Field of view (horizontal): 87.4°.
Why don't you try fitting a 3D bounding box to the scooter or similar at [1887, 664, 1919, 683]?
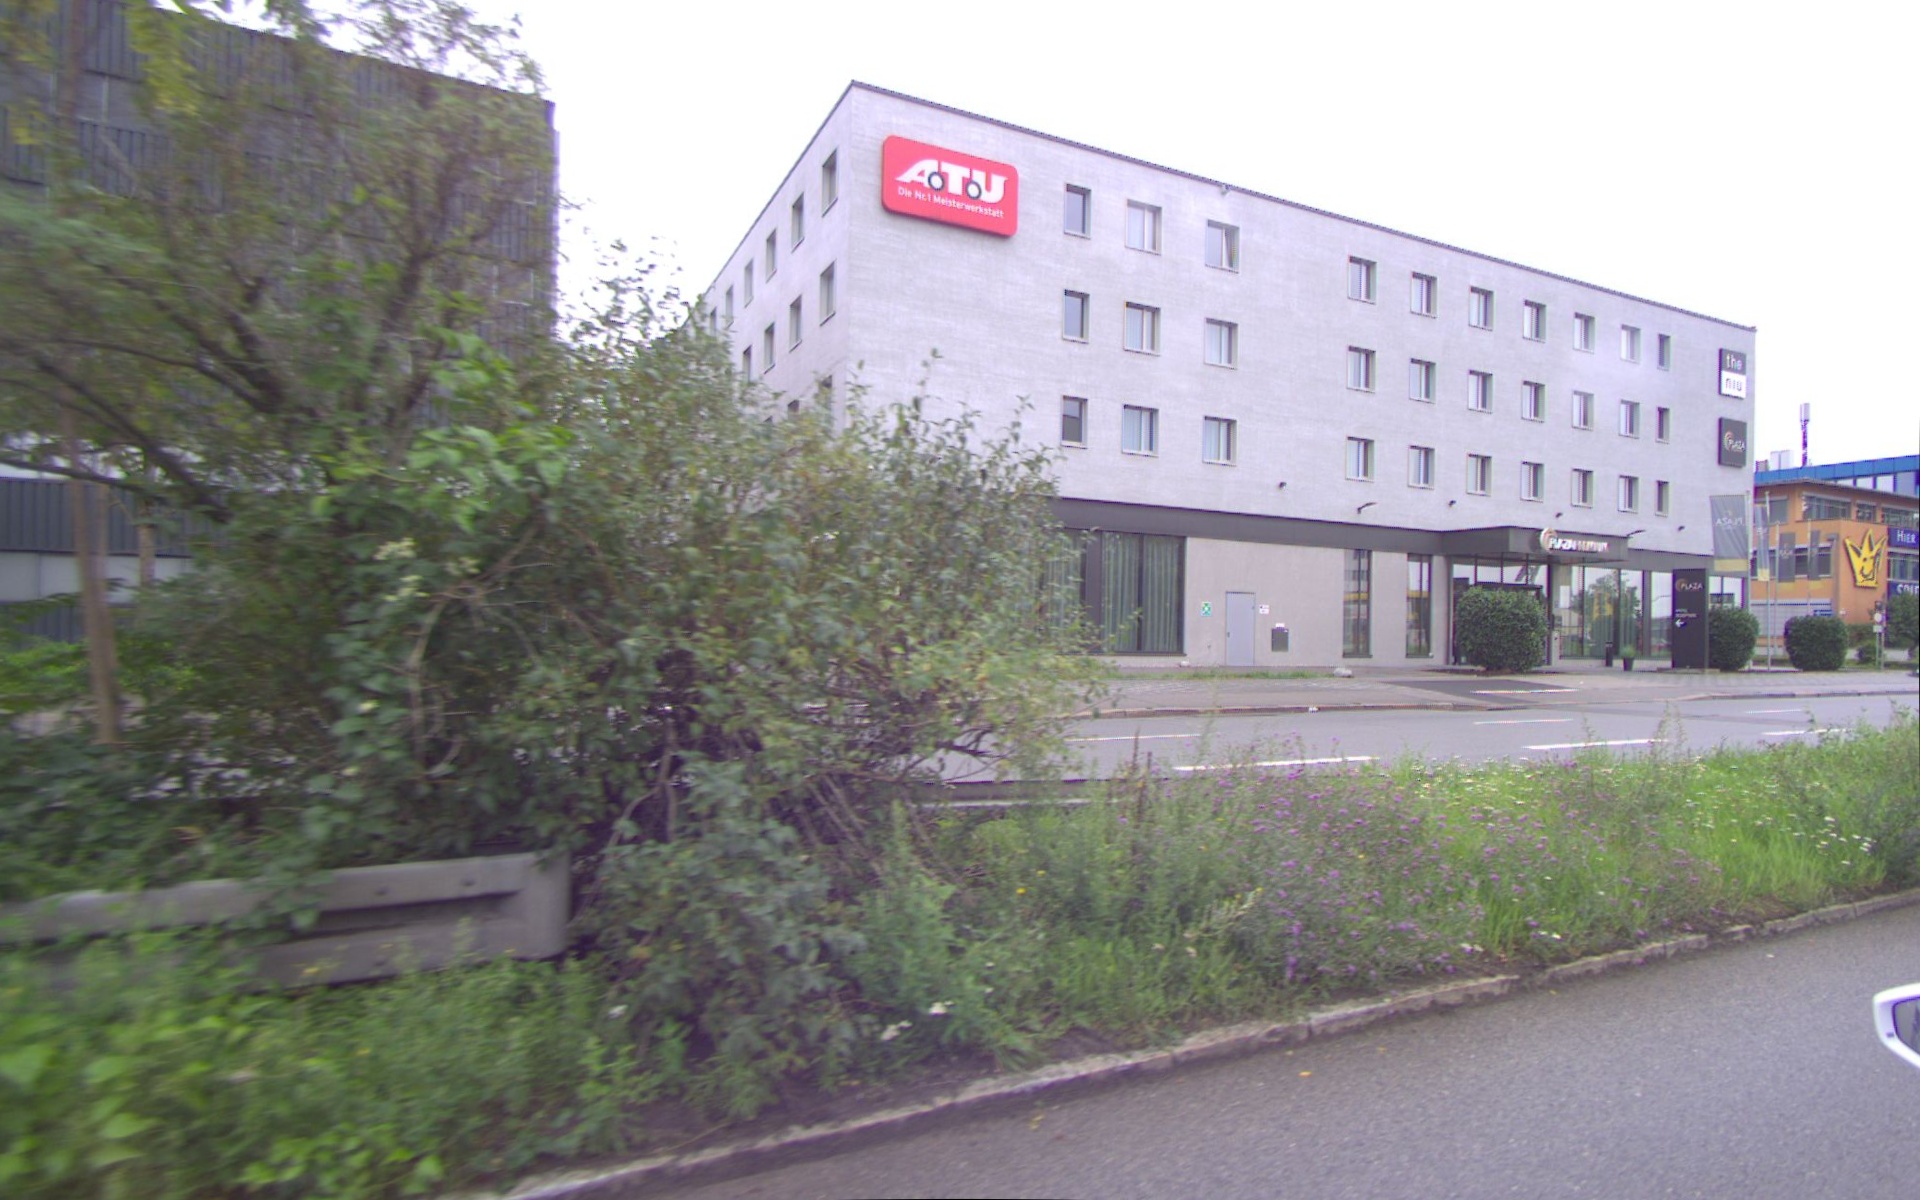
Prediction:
[{"bbox_3d":[37.380,2.879,38.937,2.293,0.592,1.462,5,-4,-29],"label":"scooter or similar"}]
